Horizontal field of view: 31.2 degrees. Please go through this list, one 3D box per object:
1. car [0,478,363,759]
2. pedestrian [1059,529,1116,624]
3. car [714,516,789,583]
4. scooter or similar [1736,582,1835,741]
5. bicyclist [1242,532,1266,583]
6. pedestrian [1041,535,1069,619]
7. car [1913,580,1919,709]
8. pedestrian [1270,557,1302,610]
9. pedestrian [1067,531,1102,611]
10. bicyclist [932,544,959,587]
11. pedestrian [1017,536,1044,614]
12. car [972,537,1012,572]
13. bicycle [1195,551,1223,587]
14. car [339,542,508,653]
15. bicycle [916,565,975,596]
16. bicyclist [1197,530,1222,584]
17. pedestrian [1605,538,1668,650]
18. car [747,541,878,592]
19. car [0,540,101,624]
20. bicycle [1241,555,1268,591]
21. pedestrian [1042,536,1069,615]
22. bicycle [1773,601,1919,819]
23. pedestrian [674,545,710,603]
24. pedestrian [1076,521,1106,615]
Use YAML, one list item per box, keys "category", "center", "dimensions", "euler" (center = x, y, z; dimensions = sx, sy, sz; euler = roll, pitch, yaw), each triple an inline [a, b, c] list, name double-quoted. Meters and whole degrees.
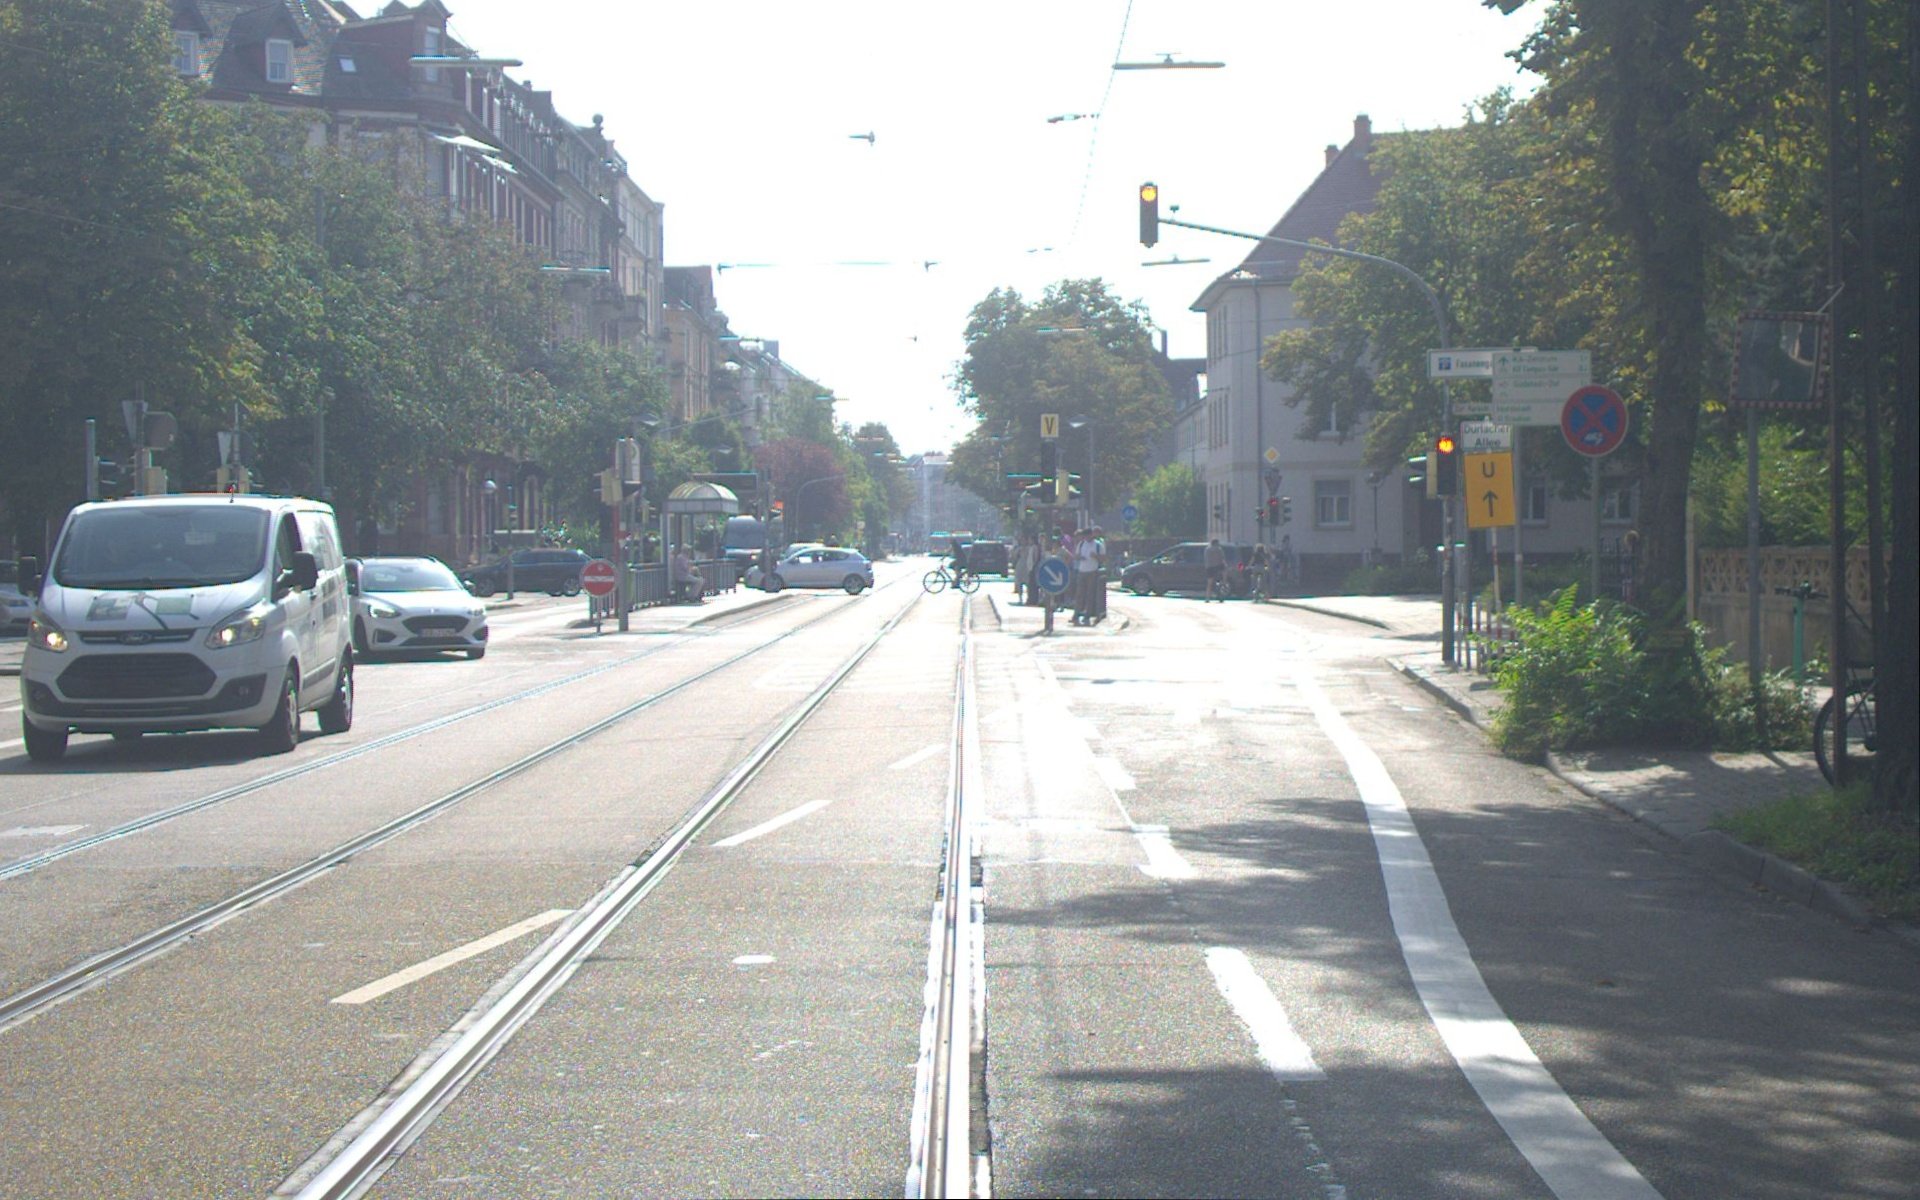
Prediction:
- category: "car"
  center: [-6.033, 0.086, 27.122]
  dimensions: [1.993, 2.007, 4.860]
  euler: [0, 1, -3]
- category: "pedestrian"
  center: [2.381, -0.442, 64.329]
  dimensions: [0.701, 1.719, 0.746]
  euler: [4, 4, 34]
- category: "car"
  center: [-8.520, -2.066, 140.681]
  dimensions: [2.347, 2.653, 5.104]
  euler: [0, 1, 5]
- category: "scooter or similar"
  center: [6.494, 0.476, 27.075]
  dimensions: [0.558, 1.193, 1.034]
  euler: [-3, 0, 6]
- category: "bicyclist"
  center: [8.129, -1.181, 95.028]
  dimensions: [0.558, 1.412, 0.872]
  euler: [0, 1, -1]
- category: "pedestrian"
  center: [2.024, -0.499, 73.311]
  dimensions: [0.504, 1.753, 0.534]
  euler: [2, 3, 1]
- category: "car"
  center: [4.820, 0.664, 12.214]
  dimensions: [1.606, 1.518, 4.357]
  euler: [-3, 1, 0]
- category: "pedestrian"
  center: [10.779, -0.547, 113.713]
  dimensions: [0.892, 1.734, 0.775]
  euler: [0, 1, 22]
- category: "pedestrian"
  center: [2.811, -0.662, 77.486]
  dimensions: [0.709, 1.753, 0.534]
  euler: [2, 3, 1]
- category: "bicyclist"
  center: [-0.462, -1.084, 108.296]
  dimensions: [0.819, 1.323, 0.548]
  euler: [0, 1, 1]
- category: "pedestrian"
  center: [1.626, -0.590, 79.560]
  dimensions: [0.532, 1.753, 0.545]
  euler: [2, 3, 2]
- category: "car"
  center: [1.503, -2.136, 161.061]
  dimensions: [1.801, 1.648, 3.642]
  euler: [0, 1, 2]
- category: "bicycle"
  center: [6.926, -0.860, 95.603]
  dimensions: [0.629, 0.974, 1.770]
  euler: [0, 1, -1]
- category: "car"
  center: [-7.754, -0.067, 50.053]
  dimensions: [1.872, 1.449, 4.546]
  euler: [-3, 1, -3]
- category: "bicycle"
  center: [-0.450, -0.628, 108.310]
  dimensions: [1.850, 0.954, 0.548]
  euler: [0, 1, 1]
- category: "bicyclist"
  center: [6.931, -1.190, 95.596]
  dimensions: [0.629, 1.502, 0.678]
  euler: [0, 1, -1]
- category: "pedestrian"
  center: [10.524, -0.101, 53.460]
  dimensions: [0.750, 1.725, 0.772]
  euler: [0, 1, -8]
- category: "car"
  center: [-4.570, -1.055, 106.994]
  dimensions: [3.964, 1.546, 2.000]
  euler: [0, 1, 1]
- category: "car"
  center: [-17.818, -0.360, 63.596]
  dimensions: [1.865, 1.461, 4.785]
  euler: [-1, 2, -39]
- category: "bicycle"
  center: [8.137, -0.757, 95.020]
  dimensions: [0.558, 0.974, 1.856]
  euler: [0, 1, -1]
- category: "pedestrian"
  center: [2.166, -0.561, 78.126]
  dimensions: [0.543, 1.753, 0.534]
  euler: [2, 3, 1]
- category: "bicycle"
  center: [5.538, 0.597, 19.894]
  dimensions: [1.837, 1.162, 0.504]
  euler: [-3, -3, -39]
- category: "pedestrian"
  center: [-6.331, -0.615, 81.198]
  dimensions: [0.827, 1.354, 0.776]
  euler: [0, 1, -3]
- category: "pedestrian"
  center: [2.614, -0.634, 68.585]
  dimensions: [0.504, 1.827, 0.534]
  euler: [2, 3, 1]
